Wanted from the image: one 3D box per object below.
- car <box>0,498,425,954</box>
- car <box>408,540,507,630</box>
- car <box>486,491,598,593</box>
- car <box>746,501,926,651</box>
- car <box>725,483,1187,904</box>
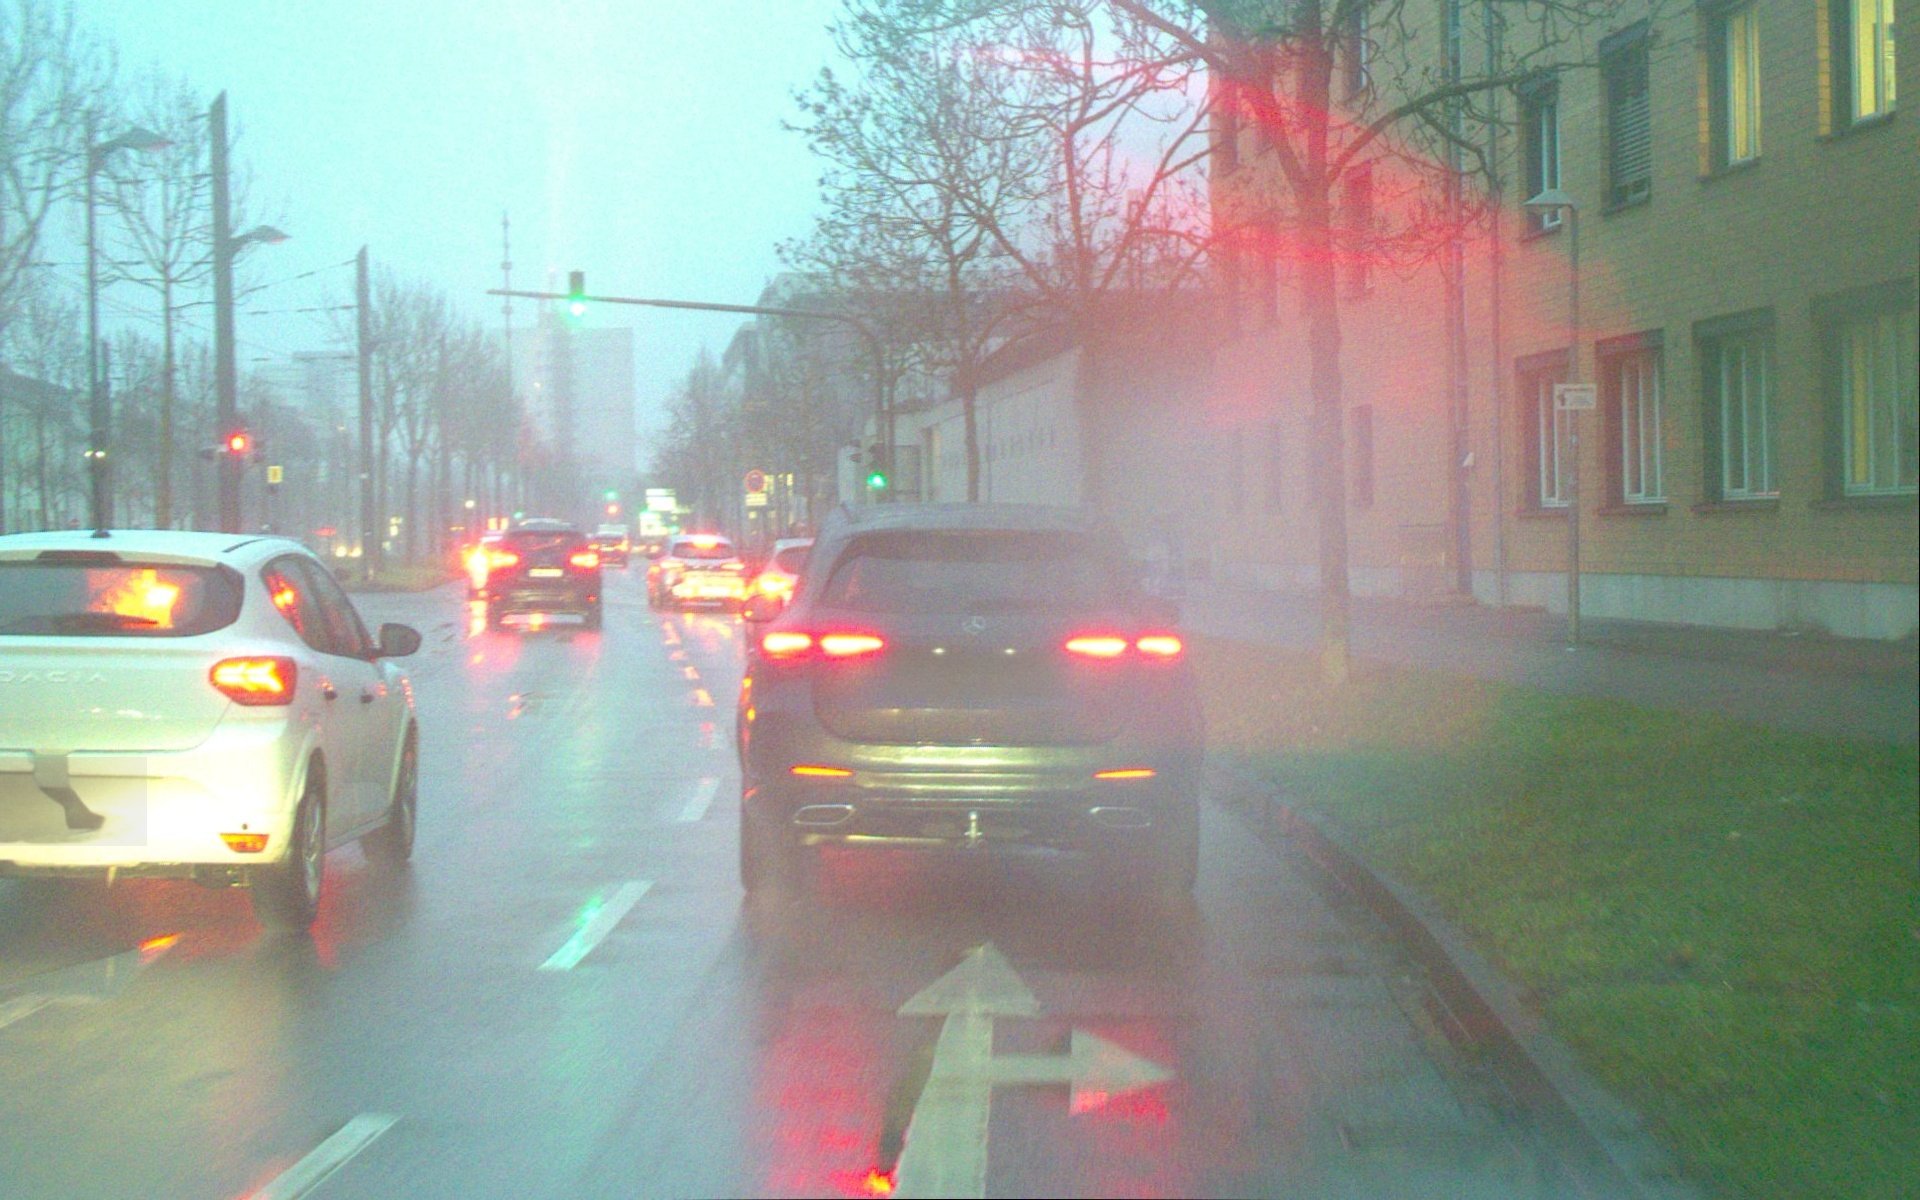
[{"bbox_3d":[-3.162,0.405,14.057,1.671,1.594,4.054,0,1,-5],"label":"car"},{"bbox_3d":[-11.714,-0.377,80.318,1.993,2.007,4.001,-1,1,-4],"label":"car"},{"bbox_3d":[-6.767,-0.944,55.924,1.671,1.594,4.054,0,1,-5],"label":"car"},{"bbox_3d":[-1.587,-0.326,42.543,1.993,1.738,4.001,-1,1,-5],"label":"car"},{"bbox_3d":[-0.151,0.319,15.101,1.671,1.594,4.054,0,1,-5],"label":"car"}]
